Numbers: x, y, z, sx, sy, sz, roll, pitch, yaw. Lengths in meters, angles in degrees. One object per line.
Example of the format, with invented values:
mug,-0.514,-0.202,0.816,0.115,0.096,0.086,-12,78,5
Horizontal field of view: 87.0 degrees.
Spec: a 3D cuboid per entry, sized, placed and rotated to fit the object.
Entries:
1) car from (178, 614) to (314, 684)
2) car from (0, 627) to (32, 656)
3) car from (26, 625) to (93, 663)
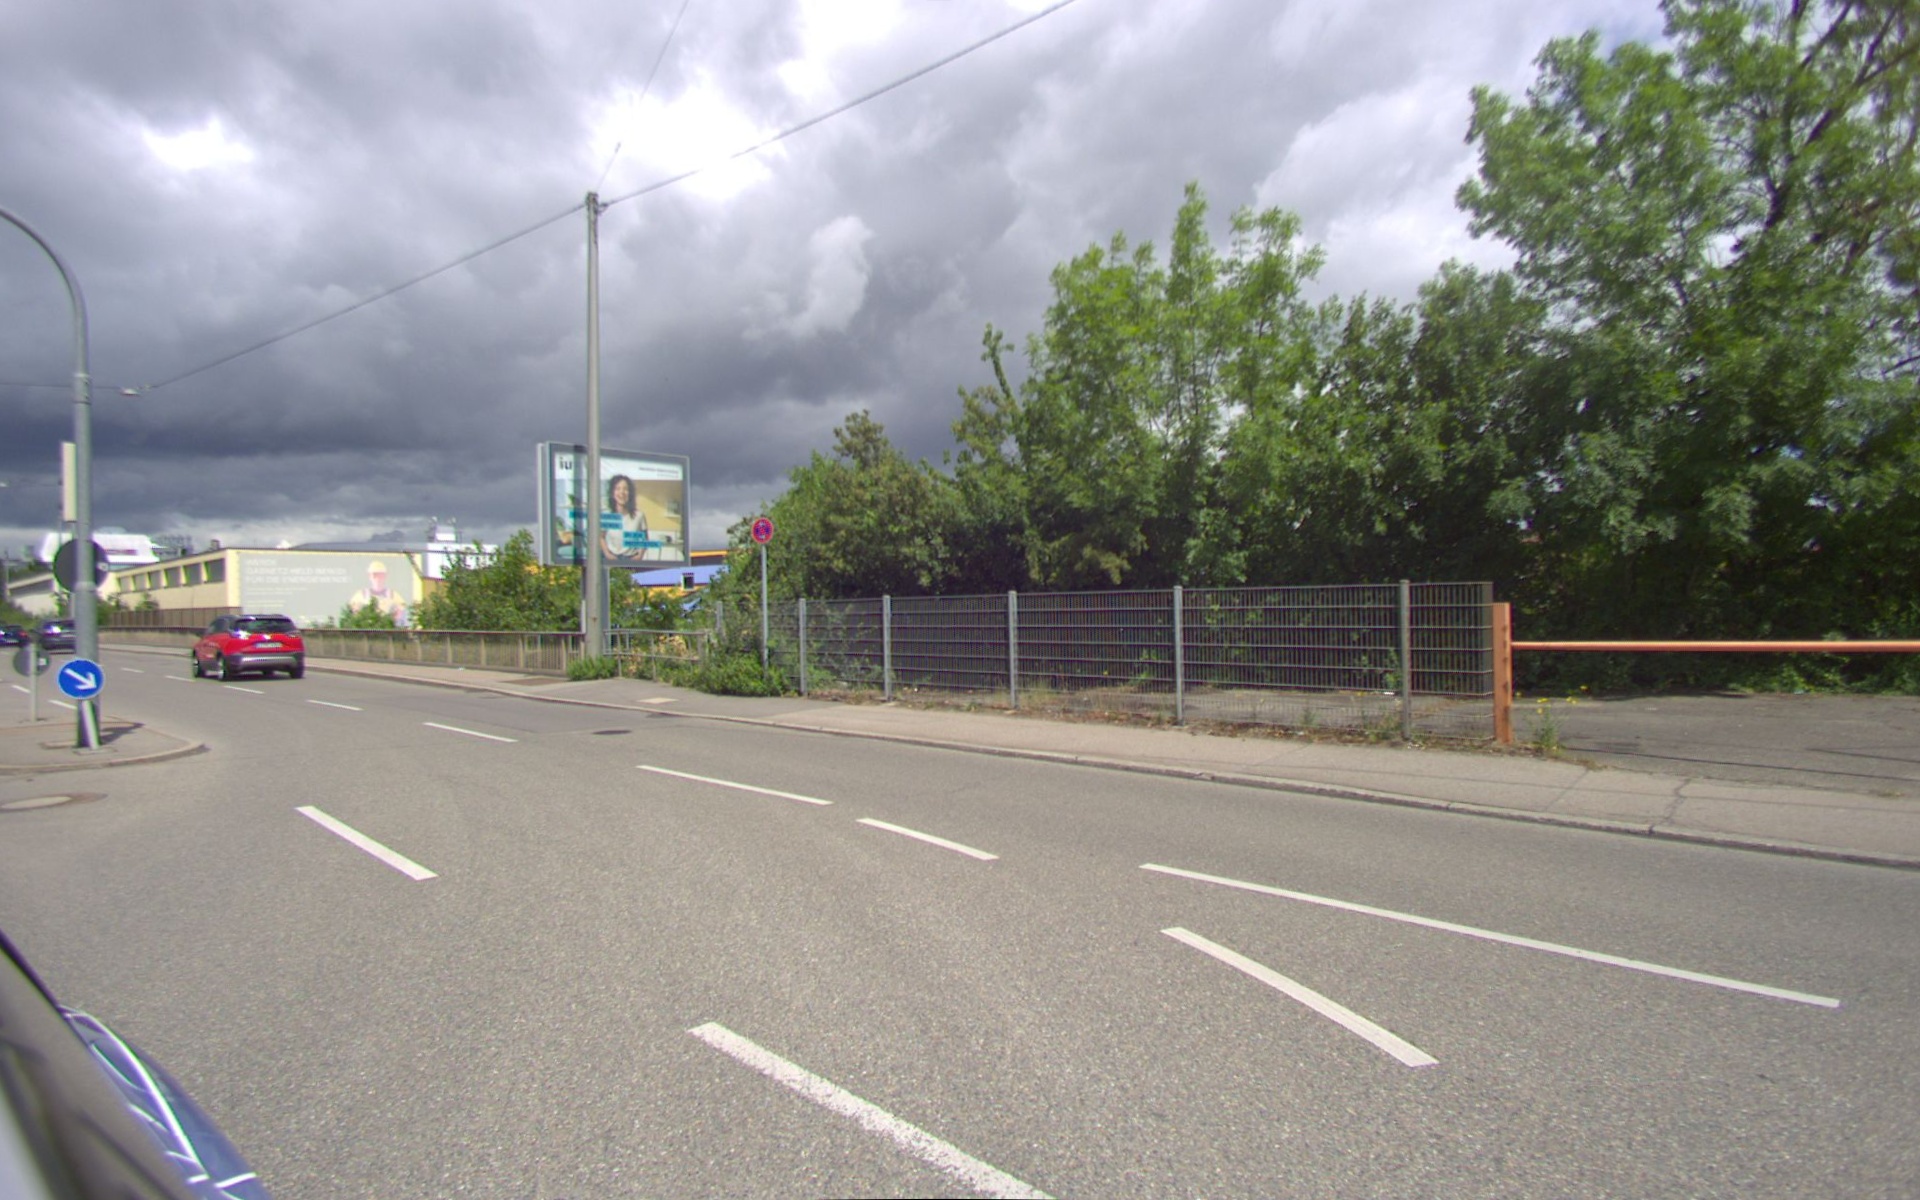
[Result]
car,-18.058,1.211,25.534,4.151,1.611,1.910,-2,-3,42
car,-56.258,2.435,59.700,3.999,1.630,1.836,-2,-1,42
car,-41.545,2.000,46.672,3.999,1.630,1.836,-2,-1,42
